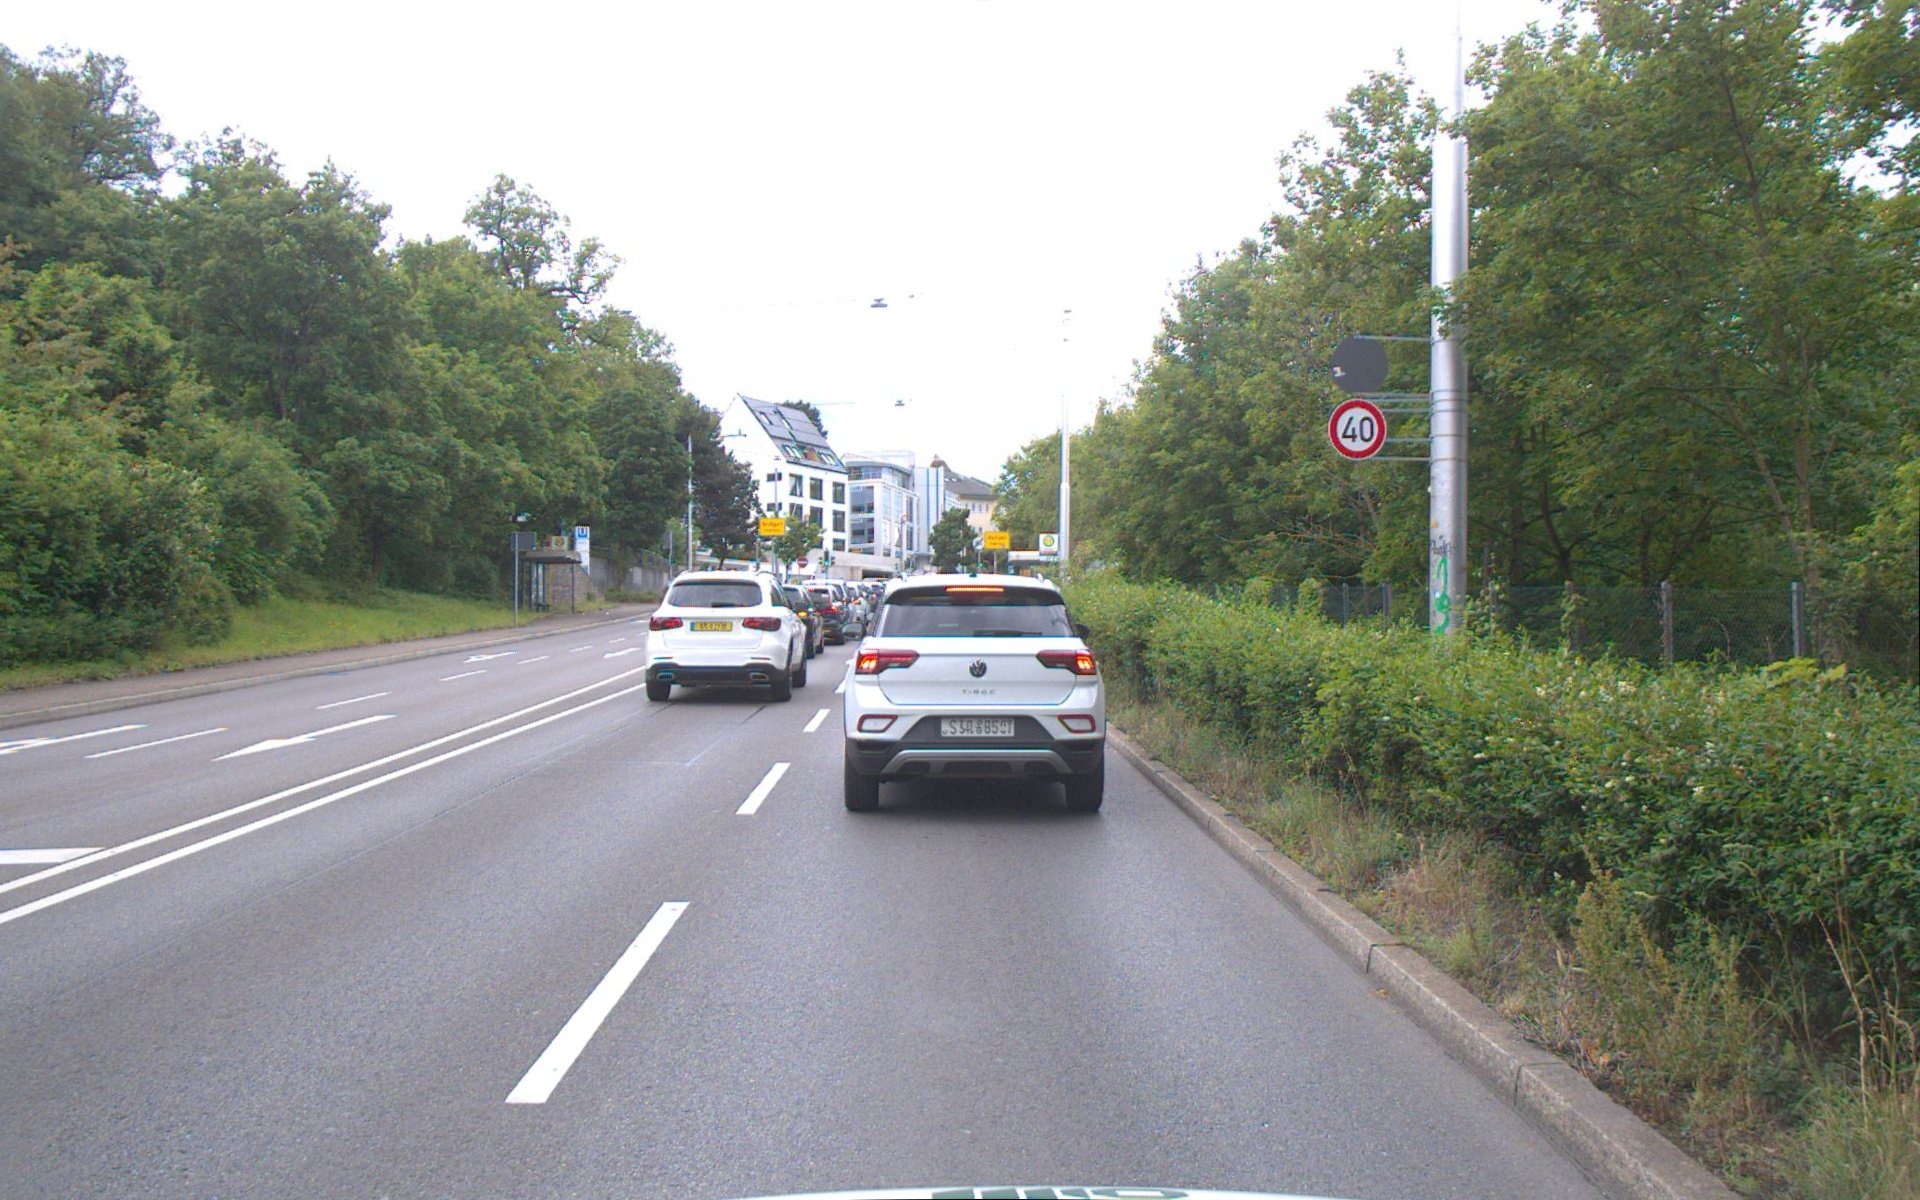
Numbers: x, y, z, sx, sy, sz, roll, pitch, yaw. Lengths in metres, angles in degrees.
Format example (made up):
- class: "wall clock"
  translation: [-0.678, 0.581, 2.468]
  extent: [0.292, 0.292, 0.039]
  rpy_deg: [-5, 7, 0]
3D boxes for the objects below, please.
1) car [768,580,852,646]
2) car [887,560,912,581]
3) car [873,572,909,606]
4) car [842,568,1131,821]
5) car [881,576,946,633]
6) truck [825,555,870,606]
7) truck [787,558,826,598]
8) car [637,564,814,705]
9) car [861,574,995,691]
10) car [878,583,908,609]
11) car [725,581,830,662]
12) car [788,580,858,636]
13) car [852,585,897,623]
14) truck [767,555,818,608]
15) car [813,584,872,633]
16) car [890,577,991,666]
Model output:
- class: "car"
  translation: [-3.701, 0.292, 41.375]
  extent: [1.792, 1.552, 3.999]
  rpy_deg: [-1, 0, -2]
- class: "car"
  translation: [-4.612, -2.216, 126.423]
  extent: [1.792, 1.552, 3.999]
  rpy_deg: [-1, 0, -2]
- class: "car"
  translation: [-3.593, -0.571, 86.710]
  extent: [1.778, 1.685, 3.927]
  rpy_deg: [-2, 1, -2]
- class: "car"
  translation: [0.118, 0.568, 12.273]
  extent: [1.792, 1.552, 3.999]
  rpy_deg: [0, 0, -2]
- class: "car"
  translation: [-1.357, 0.102, 48.507]
  extent: [1.792, 1.552, 3.999]
  rpy_deg: [-1, 0, -2]
- class: "truck"
  translation: [-6.469, -1.123, 95.180]
  extent: [2.314, 2.830, 4.477]
  rpy_deg: [-2, 1, -2]
- class: "truck"
  translation: [-12.260, -1.723, 132.642]
  extent: [2.246, 3.104, 6.980]
  rpy_deg: [-1, 0, 1]
- class: "car"
  translation: [-3.036, 0.407, 22.150]
  extent: [1.879, 1.698, 3.999]
  rpy_deg: [0, 0, -2]
- class: "car"
  translation: [-0.485, 0.420, 24.471]
  extent: [1.792, 1.552, 3.999]
  rpy_deg: [-1, 0, -2]
- class: "car"
  translation: [-4.083, -0.260, 101.392]
  extent: [1.792, 1.552, 3.999]
  rpy_deg: [-1, 0, -2]
- class: "car"
  translation: [-3.675, 0.394, 33.890]
  extent: [1.792, 1.523, 3.999]
  rpy_deg: [-1, 0, -2]
- class: "car"
  translation: [-3.987, 0.214, 48.532]
  extent: [1.792, 1.552, 3.999]
  rpy_deg: [-1, 0, -2]
- class: "car"
  translation: [-3.664, 0.156, 71.522]
  extent: [1.792, 1.552, 3.999]
  rpy_deg: [-1, 0, -2]
- class: "truck"
  translation: [-9.117, -0.986, 90.348]
  extent: [2.314, 2.753, 4.477]
  rpy_deg: [-2, 1, -2]
- class: "car"
  translation: [-3.976, 0.260, 56.277]
  extent: [1.792, 1.552, 3.999]
  rpy_deg: [-1, 0, -2]
- class: "car"
  translation: [-0.399, 0.364, 31.582]
  extent: [1.792, 1.552, 3.999]
  rpy_deg: [-1, 0, -2]
